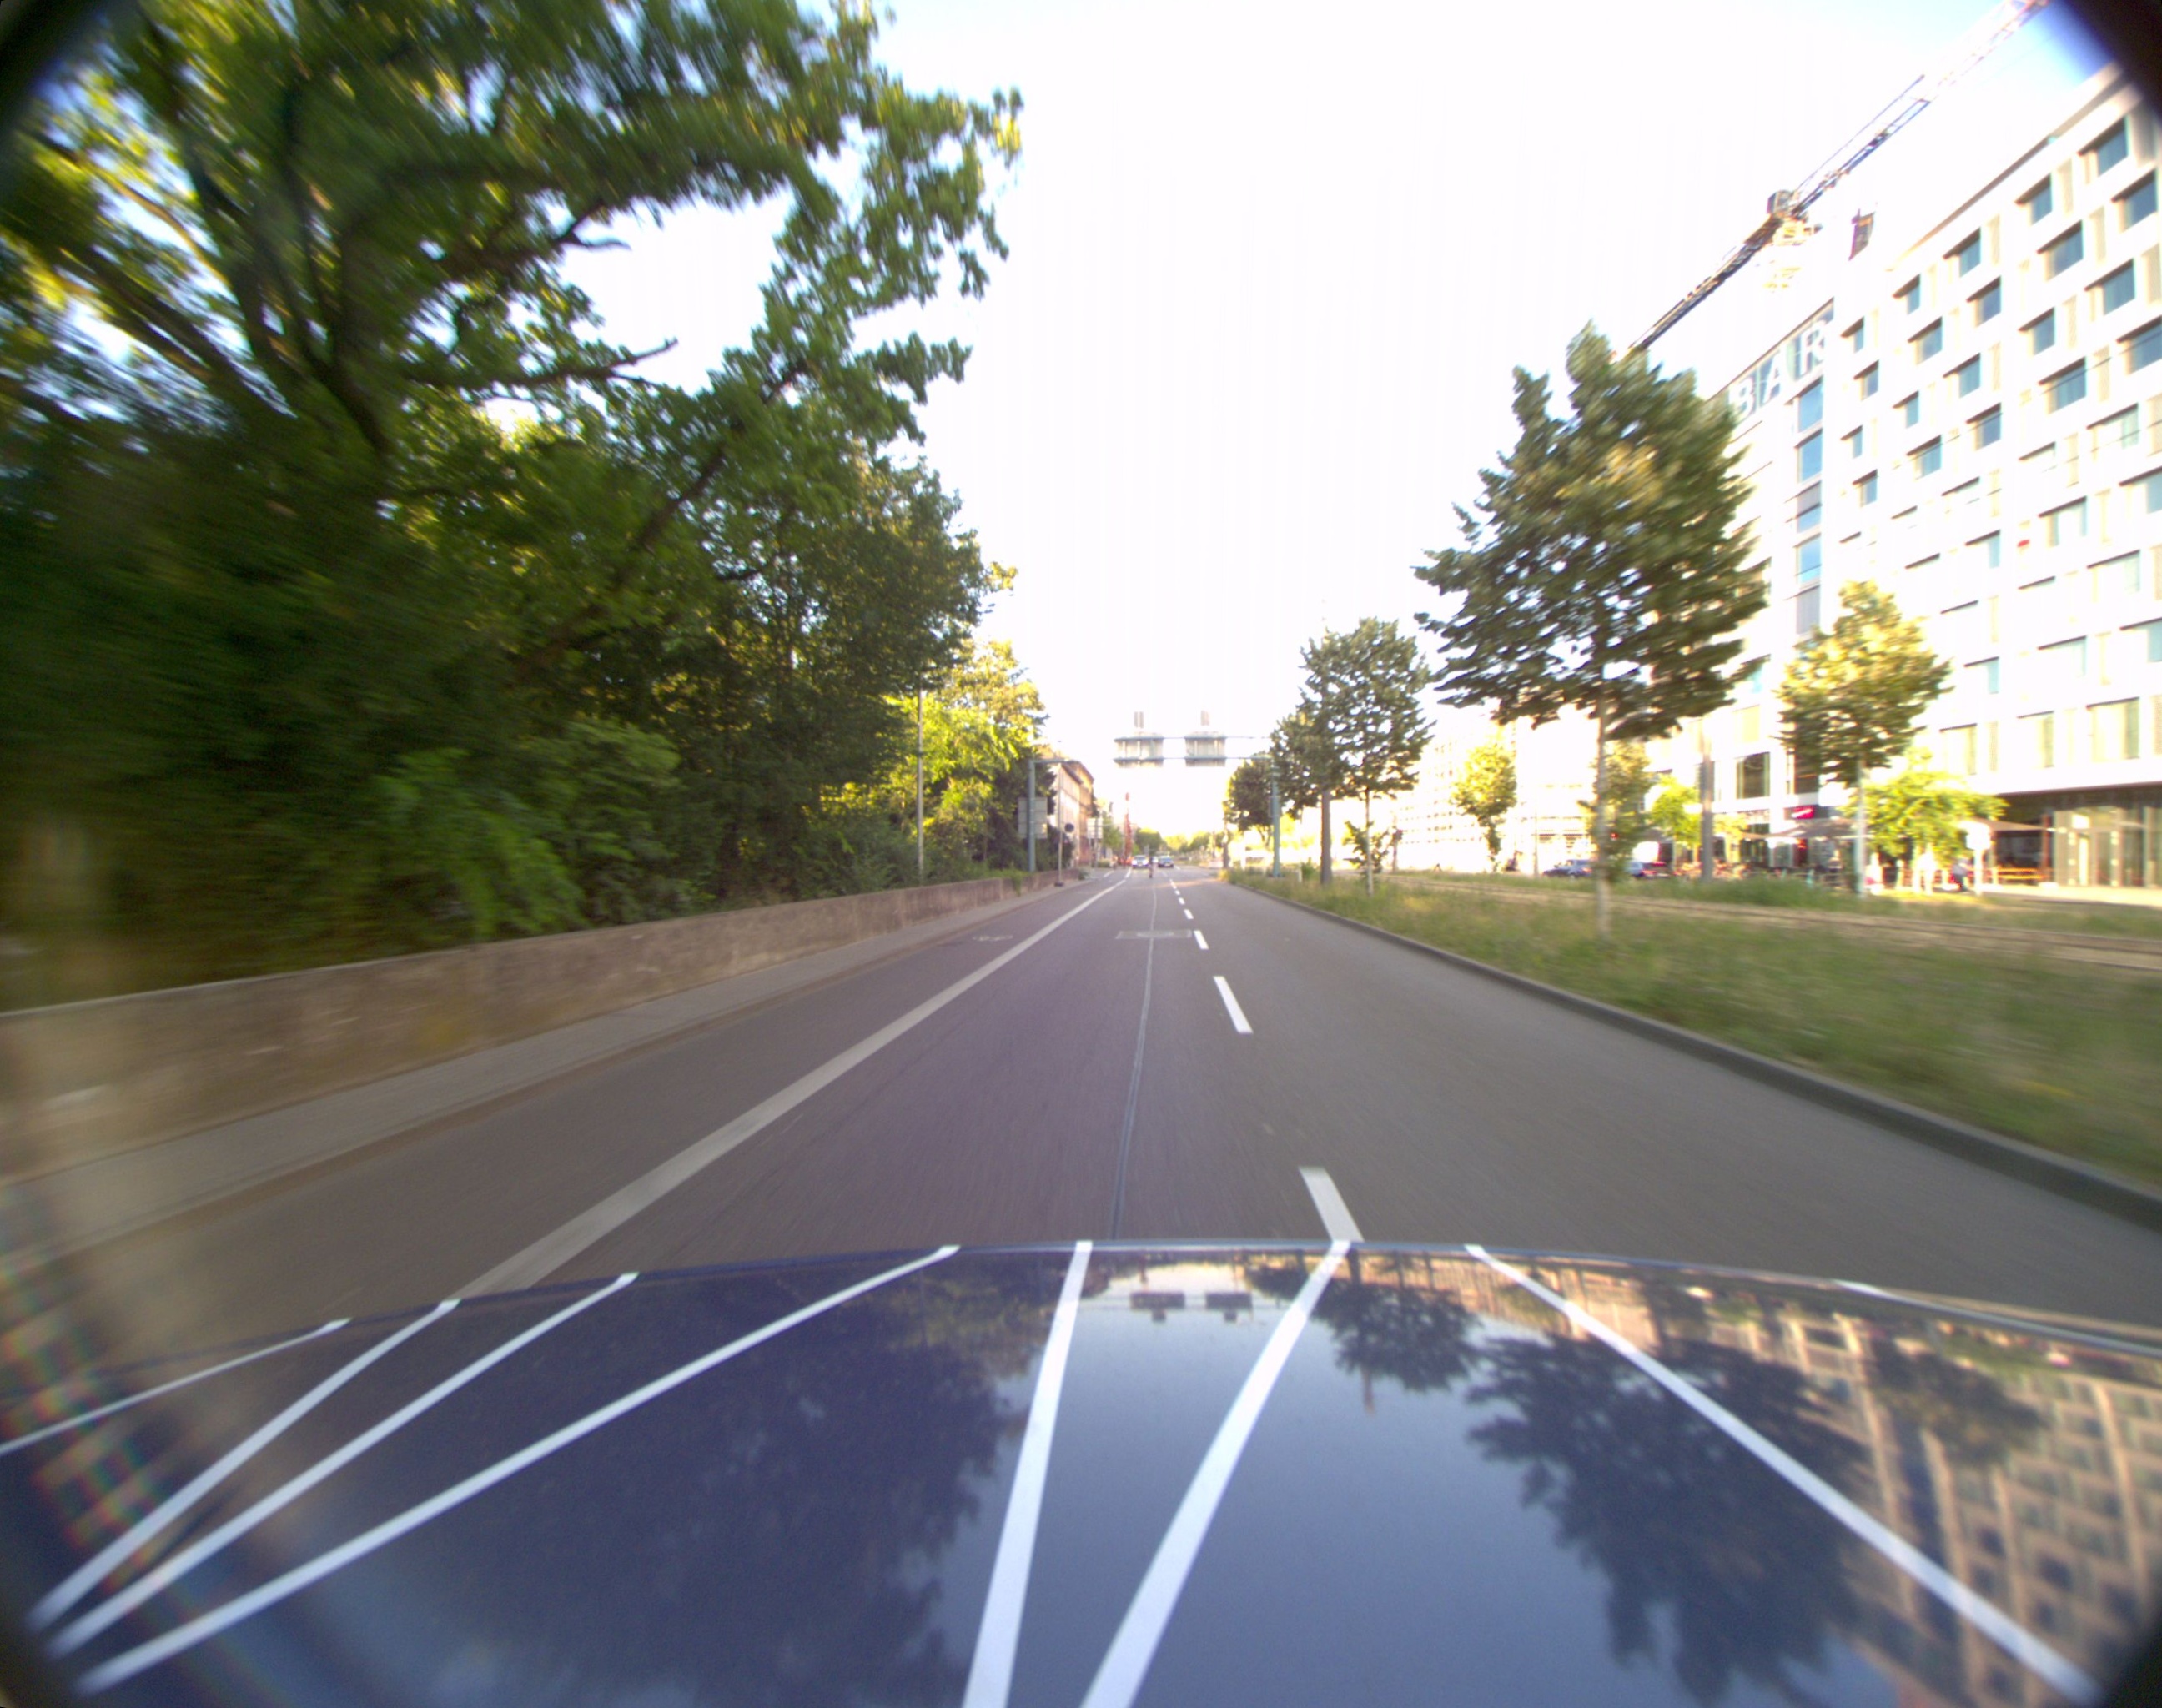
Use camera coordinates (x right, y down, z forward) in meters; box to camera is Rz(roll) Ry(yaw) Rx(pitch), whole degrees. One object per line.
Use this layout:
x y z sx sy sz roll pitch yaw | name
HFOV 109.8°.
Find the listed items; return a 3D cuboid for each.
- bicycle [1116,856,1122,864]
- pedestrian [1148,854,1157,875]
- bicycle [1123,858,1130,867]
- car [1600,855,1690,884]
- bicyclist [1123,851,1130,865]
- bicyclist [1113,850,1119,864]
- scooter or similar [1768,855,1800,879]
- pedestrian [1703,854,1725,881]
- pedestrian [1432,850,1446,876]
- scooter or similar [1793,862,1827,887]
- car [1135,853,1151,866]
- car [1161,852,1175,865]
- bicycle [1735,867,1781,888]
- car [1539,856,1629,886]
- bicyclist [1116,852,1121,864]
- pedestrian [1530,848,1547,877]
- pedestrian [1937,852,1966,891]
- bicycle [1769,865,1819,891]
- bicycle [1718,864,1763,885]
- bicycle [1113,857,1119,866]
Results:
4.798 0.790 96.798 0.517 1.045 2.045 1 0 9 | bicycle
5.270 0.785 56.172 0.579 1.495 0.619 -1 0 14 | pedestrian
5.627 1.072 94.022 0.720 1.045 2.044 -2 1 7 | bicycle
29.739 0.769 40.233 1.889 1.431 4.225 0 0 5 | car
5.624 0.505 94.252 0.705 1.691 0.768 -2 1 7 | bicyclist
4.346 0.341 94.345 0.509 1.692 0.768 3 3 9 | bicyclist
34.923 0.646 37.771 1.184 1.210 0.338 0 1 7 | scooter or similar
38.115 0.802 45.754 0.681 1.594 0.708 -2 0 -13 | pedestrian
25.888 0.671 54.958 0.708 1.825 0.763 -2 0 5 | pedestrian
34.296 0.953 35.740 1.184 1.157 0.338 0 1 7 | scooter or similar
7.833 0.671 96.177 1.832 1.588 4.262 -1 0 7 | car
11.016 0.578 95.807 1.701 1.588 4.262 -1 0 7 | car
34.713 1.207 38.967 1.913 1.053 0.443 -2 0 3 | bicycle
26.805 0.859 40.721 2.019 1.432 4.803 2 0 6 | car
4.784 0.459 96.634 0.512 1.539 0.693 1 1 9 | bicyclist
31.027 0.571 51.559 0.680 1.912 0.709 -2 0 7 | pedestrian
36.135 0.727 31.546 0.498 1.590 0.604 -2 0 7 | pedestrian
34.684 1.159 36.978 1.913 1.192 0.443 -2 0 3 | bicycle
34.975 1.099 40.307 1.913 1.053 0.443 -2 0 3 | bicycle
4.337 0.901 94.425 0.528 1.045 2.049 3 2 9 | bicycle
